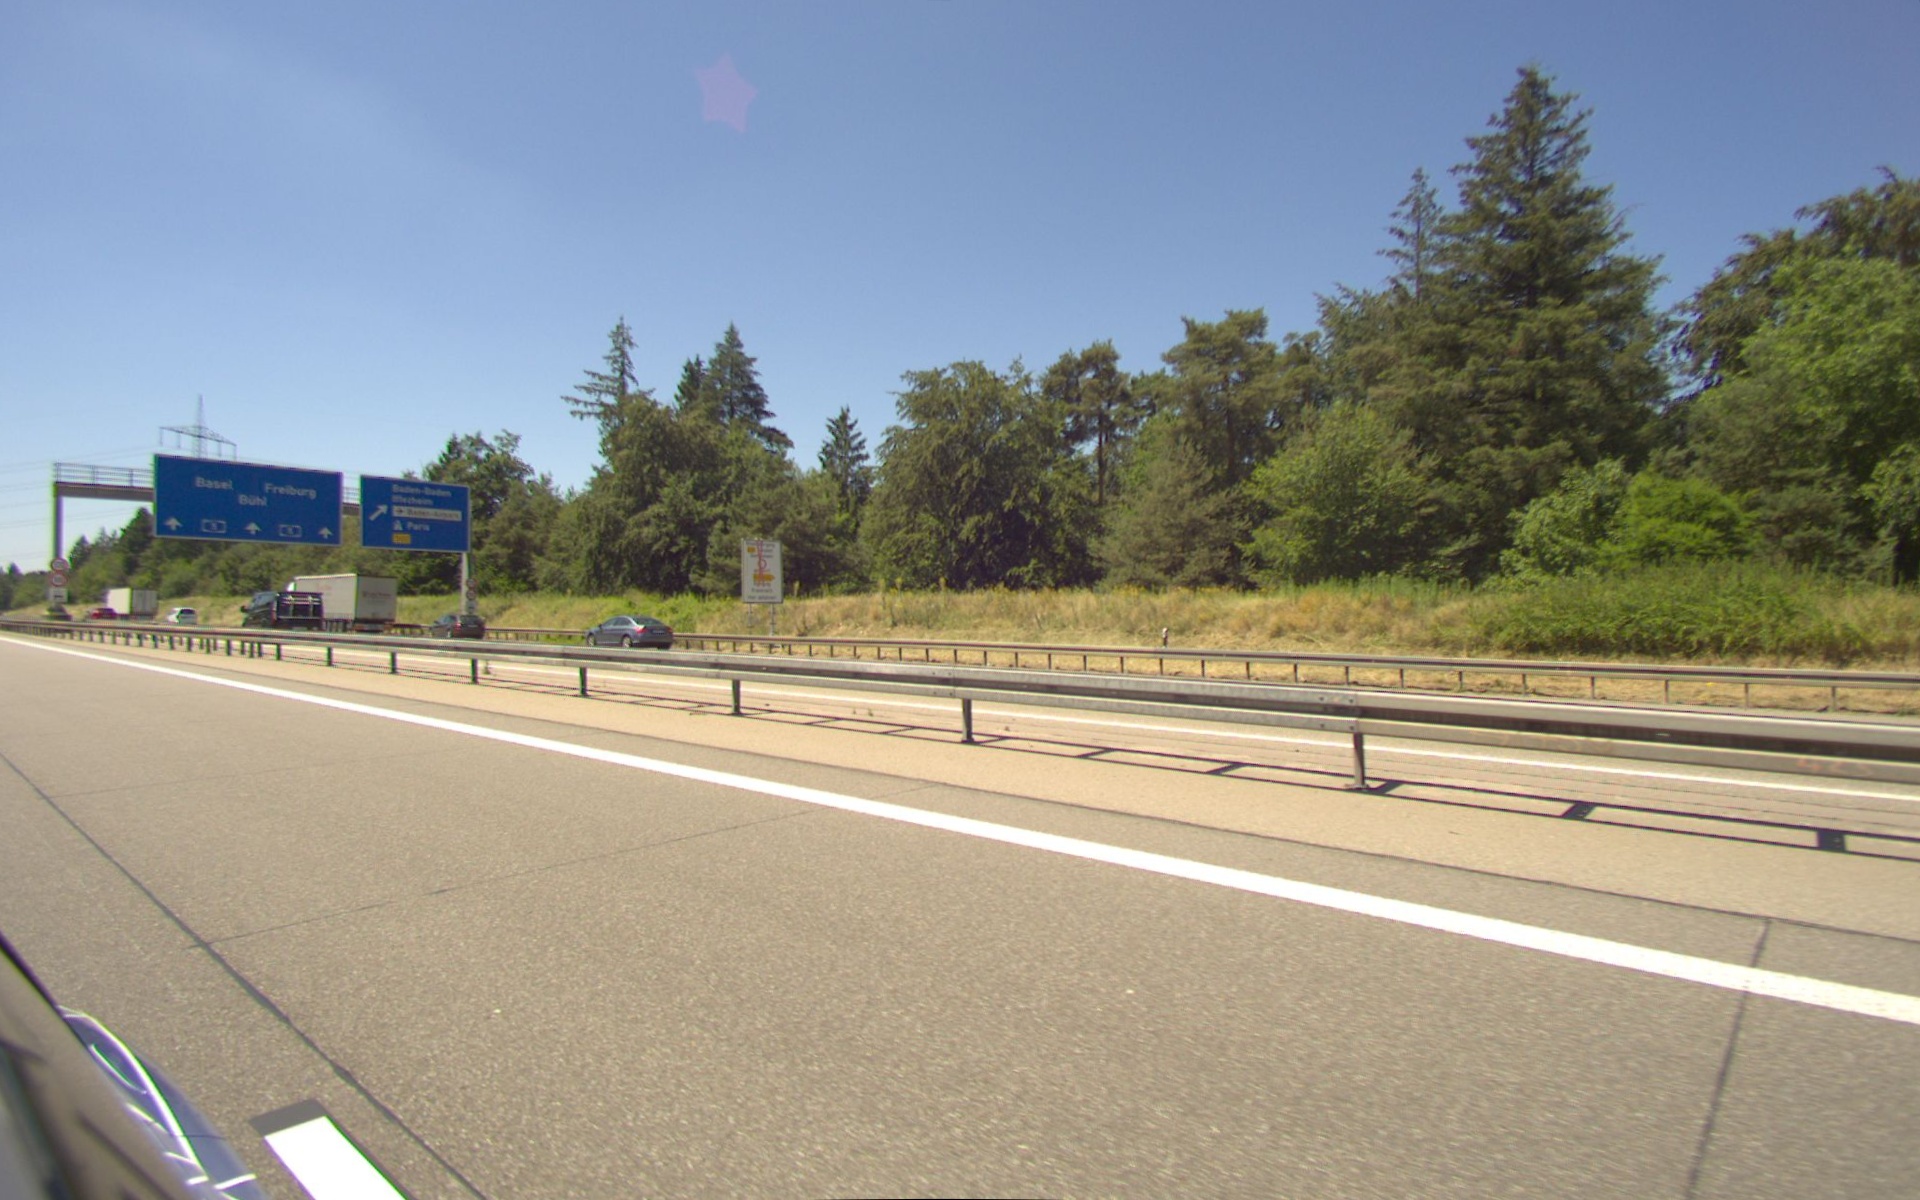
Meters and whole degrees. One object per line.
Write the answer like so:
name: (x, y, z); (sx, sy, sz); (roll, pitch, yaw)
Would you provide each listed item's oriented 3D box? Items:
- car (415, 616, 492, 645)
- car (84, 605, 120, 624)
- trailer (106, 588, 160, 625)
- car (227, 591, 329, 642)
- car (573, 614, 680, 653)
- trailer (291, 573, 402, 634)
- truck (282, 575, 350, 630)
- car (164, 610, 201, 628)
car: (-27.867, 1.637, 55.608); (4.941, 1.474, 2.063); (-1, -1, 42)
car: (-79.279, 1.319, 93.461); (4.919, 1.622, 1.827); (0, 0, 41)
trailer: (-97.950, 0.760, 119.766); (14.362, 4.073, 3.179); (0, 0, 43)
car: (-27.558, 0.658, 40.819); (4.941, 1.955, 2.255); (-1, -1, 42)
car: (-13.550, 1.317, 41.023); (4.941, 1.474, 1.906); (-1, -1, 42)
trailer: (-43.573, 0.213, 71.546); (13.965, 3.960, 3.133); (0, 0, 44)
truck: (-48.535, 0.196, 76.255); (5.401, 3.960, 3.133); (0, 0, 43)
car: (-77.330, 1.841, 100.586); (4.988, 1.763, 1.973); (0, 0, 41)
